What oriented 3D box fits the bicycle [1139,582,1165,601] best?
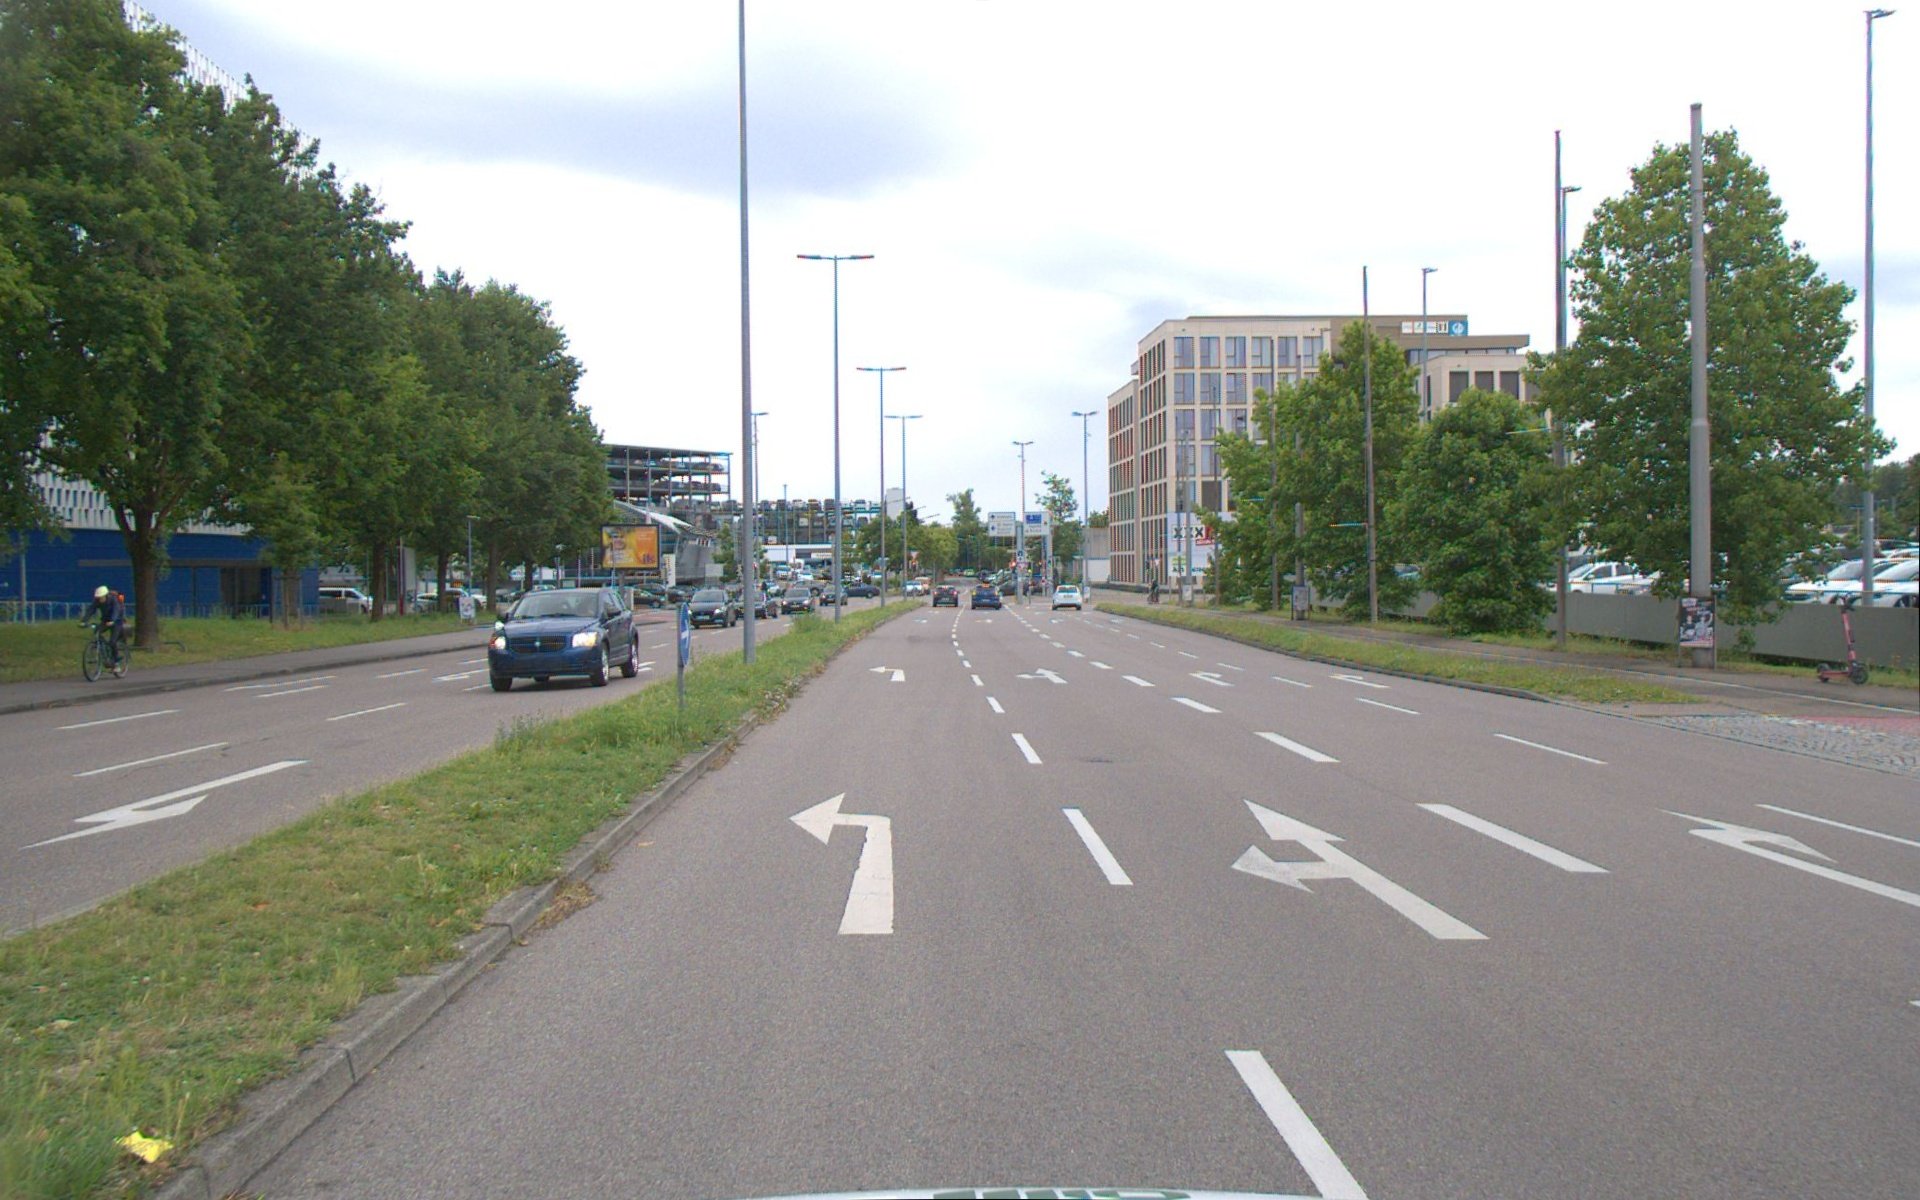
[{"bbox_3d":[13.654,-0.603,117.623,0.694,1.318,1.985,-1,1,-36],"label":"bicycle"}]

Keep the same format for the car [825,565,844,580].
[{"bbox_3d":[-15.489,-3.365,204.752,1.738,1.735,3.920,0,3,5],"label":"car"}]

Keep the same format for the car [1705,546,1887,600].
[{"bbox_3d":[22.815,-0.765,45.215,4.069,1.373,1.809,-1,3,-3],"label":"car"}]

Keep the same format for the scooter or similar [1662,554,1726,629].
[{"bbox_3d":[14.540,-0.169,32.815,0.636,1.446,1.820,-1,0,7],"label":"scooter or similar"}]

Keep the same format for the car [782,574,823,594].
[{"bbox_3d":[-15.337,-1.556,160.803,3.909,1.821,1.846,-1,3,-5],"label":"car"}]

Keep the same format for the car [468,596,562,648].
[{"bbox_3d":[-13.836,0.641,51.637,1.828,1.479,4.167,-2,0,-1],"label":"car"}]

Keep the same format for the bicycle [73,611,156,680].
[{"bbox_3d":[-16.567,0.871,32.459,0.630,1.272,2.055,1,1,-2],"label":"bicycle"}]

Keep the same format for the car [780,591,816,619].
[{"bbox_3d":[-9.596,0.266,98.000,1.744,1.481,4.181,-2,1,-1],"label":"car"}]

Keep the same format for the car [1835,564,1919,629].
[{"bbox_3d":[22.665,-0.112,38.195,3.972,1.373,1.835,-1,3,-3],"label":"car"}]

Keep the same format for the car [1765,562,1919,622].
[{"bbox_3d":[22.475,-0.218,41.220,3.972,1.373,1.763,-1,3,-3],"label":"car"}]

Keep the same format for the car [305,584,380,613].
[{"bbox_3d":[-47.857,-0.125,128.232,5.032,1.997,1.879,-1,4,-5],"label":"car"}]

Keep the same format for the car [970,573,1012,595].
[{"bbox_3d":[2.792,-1.455,149.061,3.605,1.802,1.743,-1,3,-6],"label":"car"}]

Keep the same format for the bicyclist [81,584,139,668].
[{"bbox_3d":[-16.673,0.493,32.469,0.627,1.605,1.000,1,1,-2],"label":"bicyclist"}]

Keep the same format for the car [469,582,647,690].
[{"bbox_3d":[-6.377,0.513,26.759,1.892,1.512,4.437,-2,1,-2],"label":"car"}]

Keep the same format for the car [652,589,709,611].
[{"bbox_3d":[-21.978,-0.036,130.232,4.332,1.689,1.997,-1,0,-7],"label":"car"}]

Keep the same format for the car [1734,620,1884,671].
[{"bbox_3d":[27.343,1.445,53.355,3.972,1.578,1.763,0,0,-2],"label":"car"}]

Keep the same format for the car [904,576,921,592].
[{"bbox_3d":[-4.699,-1.626,164.692,1.568,1.478,3.325,-1,3,0],"label":"car"}]

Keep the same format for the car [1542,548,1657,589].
[{"bbox_3d":[22.405,-1.121,58.000,3.446,1.330,1.604,-1,3,-7],"label":"car"}]

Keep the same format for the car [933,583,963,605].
[{"bbox_3d":[-0.853,-0.415,113.192,1.947,1.453,4.239,-1,0,-2],"label":"car"}]

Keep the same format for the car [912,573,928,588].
[{"bbox_3d":[-4.140,-2.027,172.835,1.568,1.478,3.325,-1,3,0],"label":"car"}]

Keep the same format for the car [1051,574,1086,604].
[{"bbox_3d":[6.698,-0.702,102.437,1.952,1.782,4.180,-1,1,1],"label":"car"}]

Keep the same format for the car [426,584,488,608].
[{"bbox_3d":[-40.093,-0.338,131.981,4.347,1.740,1.999,-1,4,-6],"label":"car"}]

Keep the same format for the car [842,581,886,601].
[{"bbox_3d":[-8.414,-0.791,145.407,3.782,1.663,1.723,-1,3,-6],"label":"car"}]

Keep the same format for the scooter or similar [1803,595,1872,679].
[{"bbox_3d":[13.313,0.542,25.117,0.362,1.211,1.248,-1,1,-1],"label":"scooter or similar"}]

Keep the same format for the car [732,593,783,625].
[{"bbox_3d":[-10.209,0.444,83.604,1.735,1.477,4.407,-3,0,3],"label":"car"}]

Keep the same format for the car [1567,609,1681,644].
[{"bbox_3d":[27.033,1.082,67.392,3.971,1.374,1.764,0,1,0],"label":"car"}]

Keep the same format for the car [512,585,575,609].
[{"bbox_3d":[-32.505,-0.263,129.145,4.457,1.688,1.997,-2,1,-7],"label":"car"}]

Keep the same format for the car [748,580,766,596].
[{"bbox_3d":[-19.161,-1.126,155.871,1.348,1.349,3.023,-1,3,-14],"label":"car"}]

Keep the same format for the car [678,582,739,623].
[{"bbox_3d":[-9.847,0.061,65.037,1.722,1.478,4.000,-3,0,0],"label":"car"}]

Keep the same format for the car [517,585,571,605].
[{"bbox_3d":[-36.203,-0.423,144.086,4.332,1.689,1.997,-1,0,-7],"label":"car"}]

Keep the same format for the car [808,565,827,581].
[{"bbox_3d":[-17.635,-3.341,204.693,1.738,1.735,3.920,0,3,5],"label":"car"}]

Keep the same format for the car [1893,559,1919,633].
[{"bbox_3d":[22.781,-0.103,35.975,3.971,1.567,1.764,-1,3,0],"label":"car"}]

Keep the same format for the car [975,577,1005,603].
[{"bbox_3d":[1.874,-0.659,104.297,1.797,1.540,4.000,0,1,-1],"label":"car"}]

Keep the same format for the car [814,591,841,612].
[{"bbox_3d":[-9.690,0.115,120.940,1.893,1.481,4.178,0,1,-5],"label":"car"}]
